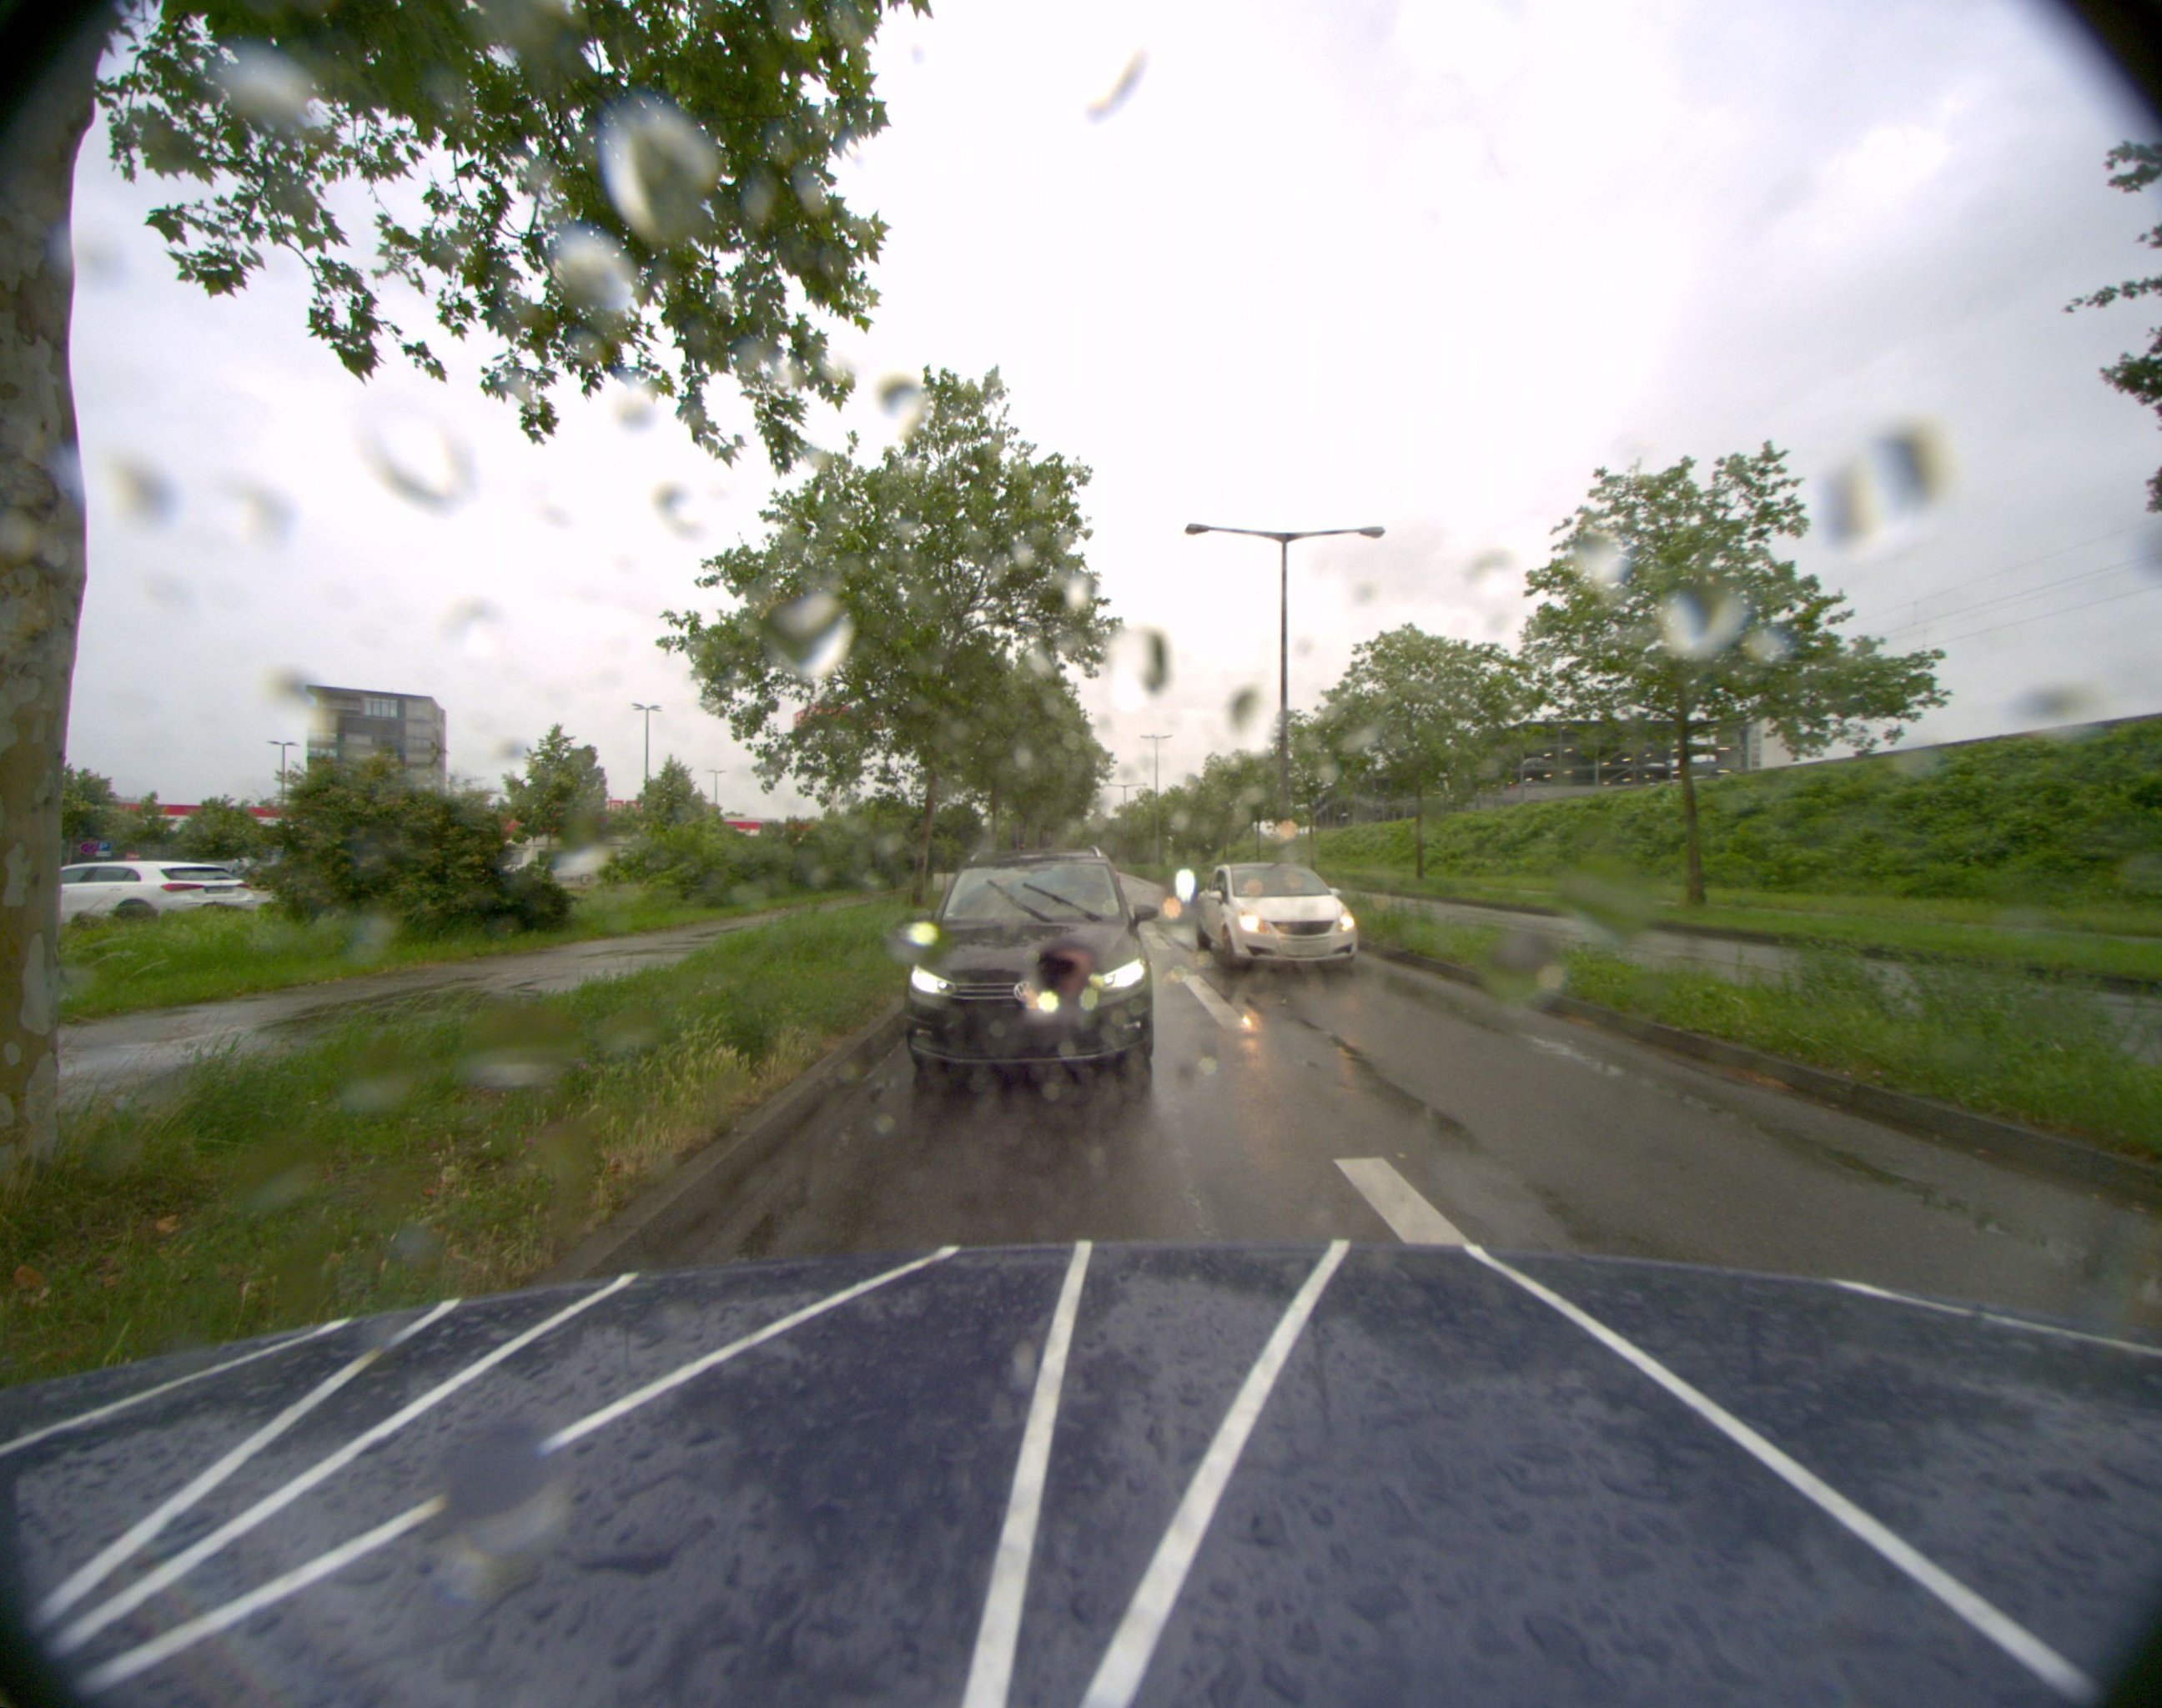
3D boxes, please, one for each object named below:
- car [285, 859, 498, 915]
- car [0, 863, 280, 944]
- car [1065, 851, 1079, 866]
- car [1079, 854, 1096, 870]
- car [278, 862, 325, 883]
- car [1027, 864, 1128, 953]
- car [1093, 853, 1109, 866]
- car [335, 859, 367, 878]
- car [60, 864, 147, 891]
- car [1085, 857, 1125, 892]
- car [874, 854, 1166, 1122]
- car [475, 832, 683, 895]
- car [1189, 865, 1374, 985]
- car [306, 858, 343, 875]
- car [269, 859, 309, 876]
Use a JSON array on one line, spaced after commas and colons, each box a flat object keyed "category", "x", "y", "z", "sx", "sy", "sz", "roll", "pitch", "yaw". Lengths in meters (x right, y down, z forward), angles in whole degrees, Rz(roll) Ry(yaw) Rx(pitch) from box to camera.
[{"category": "car", "x": -19.932, "y": 0.924, "z": 22.140, "sx": 4.272, "sy": 1.543, "sz": 1.929, "roll": 0, "pitch": 0, "yaw": -4}, {"category": "car", "x": -19.780, "y": 0.966, "z": 15.670, "sx": 4.272, "sy": 1.543, "sz": 1.929, "roll": 0, "pitch": 0, "yaw": -4}, {"category": "car", "x": -1.364, "y": 0.667, "z": 115.805, "sx": 1.999, "sy": 2.002, "sz": 5.131, "roll": -2, "pitch": 1, "yaw": -1}, {"category": "car", "x": 0.695, "y": 0.896, "z": 86.391, "sx": 1.831, "sy": 1.737, "sz": 4.147, "roll": -2, "pitch": 0, "yaw": 0}, {"category": "car", "x": -67.267, "y": 1.596, "z": 65.615, "sx": 2.006, "sy": 1.667, "sz": 4.262, "roll": 0, "pitch": 0, "yaw": -34}, {"category": "car", "x": -0.060, "y": 0.981, "z": 15.441, "sx": 1.724, "sy": 1.456, "sz": 4.092, "roll": -2, "pitch": 0, "yaw": 0}, {"category": "car", "x": 2.519, "y": 0.681, "z": 95.548, "sx": 1.831, "sy": 1.602, "sz": 4.147, "roll": -2, "pitch": 0, "yaw": 0}, {"category": "car", "x": -67.735, "y": 1.275, "z": 70.544, "sx": 2.007, "sy": 1.667, "sz": 4.261, "roll": 0, "pitch": 0, "yaw": -43}, {"category": "car", "x": -61.853, "y": 1.434, "z": 48.170, "sx": 1.933, "sy": 1.543, "sz": 4.263, "roll": 0, "pitch": 0, "yaw": -30}, {"category": "car", "x": 1.089, "y": 0.928, "z": 35.358, "sx": 1.724, "sy": 1.456, "sz": 4.092, "roll": -2, "pitch": 0, "yaw": 1}, {"category": "car", "x": -0.424, "y": 0.837, "z": 7.077, "sx": 1.771, "sy": 1.596, "sz": 4.626, "roll": -2, "pitch": 0, "yaw": -1}, {"category": "car", "x": -19.652, "y": 0.361, "z": 30.090, "sx": 6.425, "sy": 2.349, "sz": 2.390, "roll": 0, "pitch": 0, "yaw": -8}, {"category": "car", "x": 2.757, "y": 0.902, "z": 11.358, "sx": 1.683, "sy": 1.368, "sz": 4.011, "roll": -2, "pitch": 0, "yaw": 0}, {"category": "car", "x": -78.452, "y": 1.230, "z": 78.878, "sx": 2.006, "sy": 1.667, "sz": 4.262, "roll": 0, "pitch": 0, "yaw": -35}, {"category": "car", "x": -80.563, "y": 1.329, "z": 77.347, "sx": 2.006, "sy": 1.667, "sz": 4.262, "roll": 0, "pitch": 0, "yaw": -35}]
